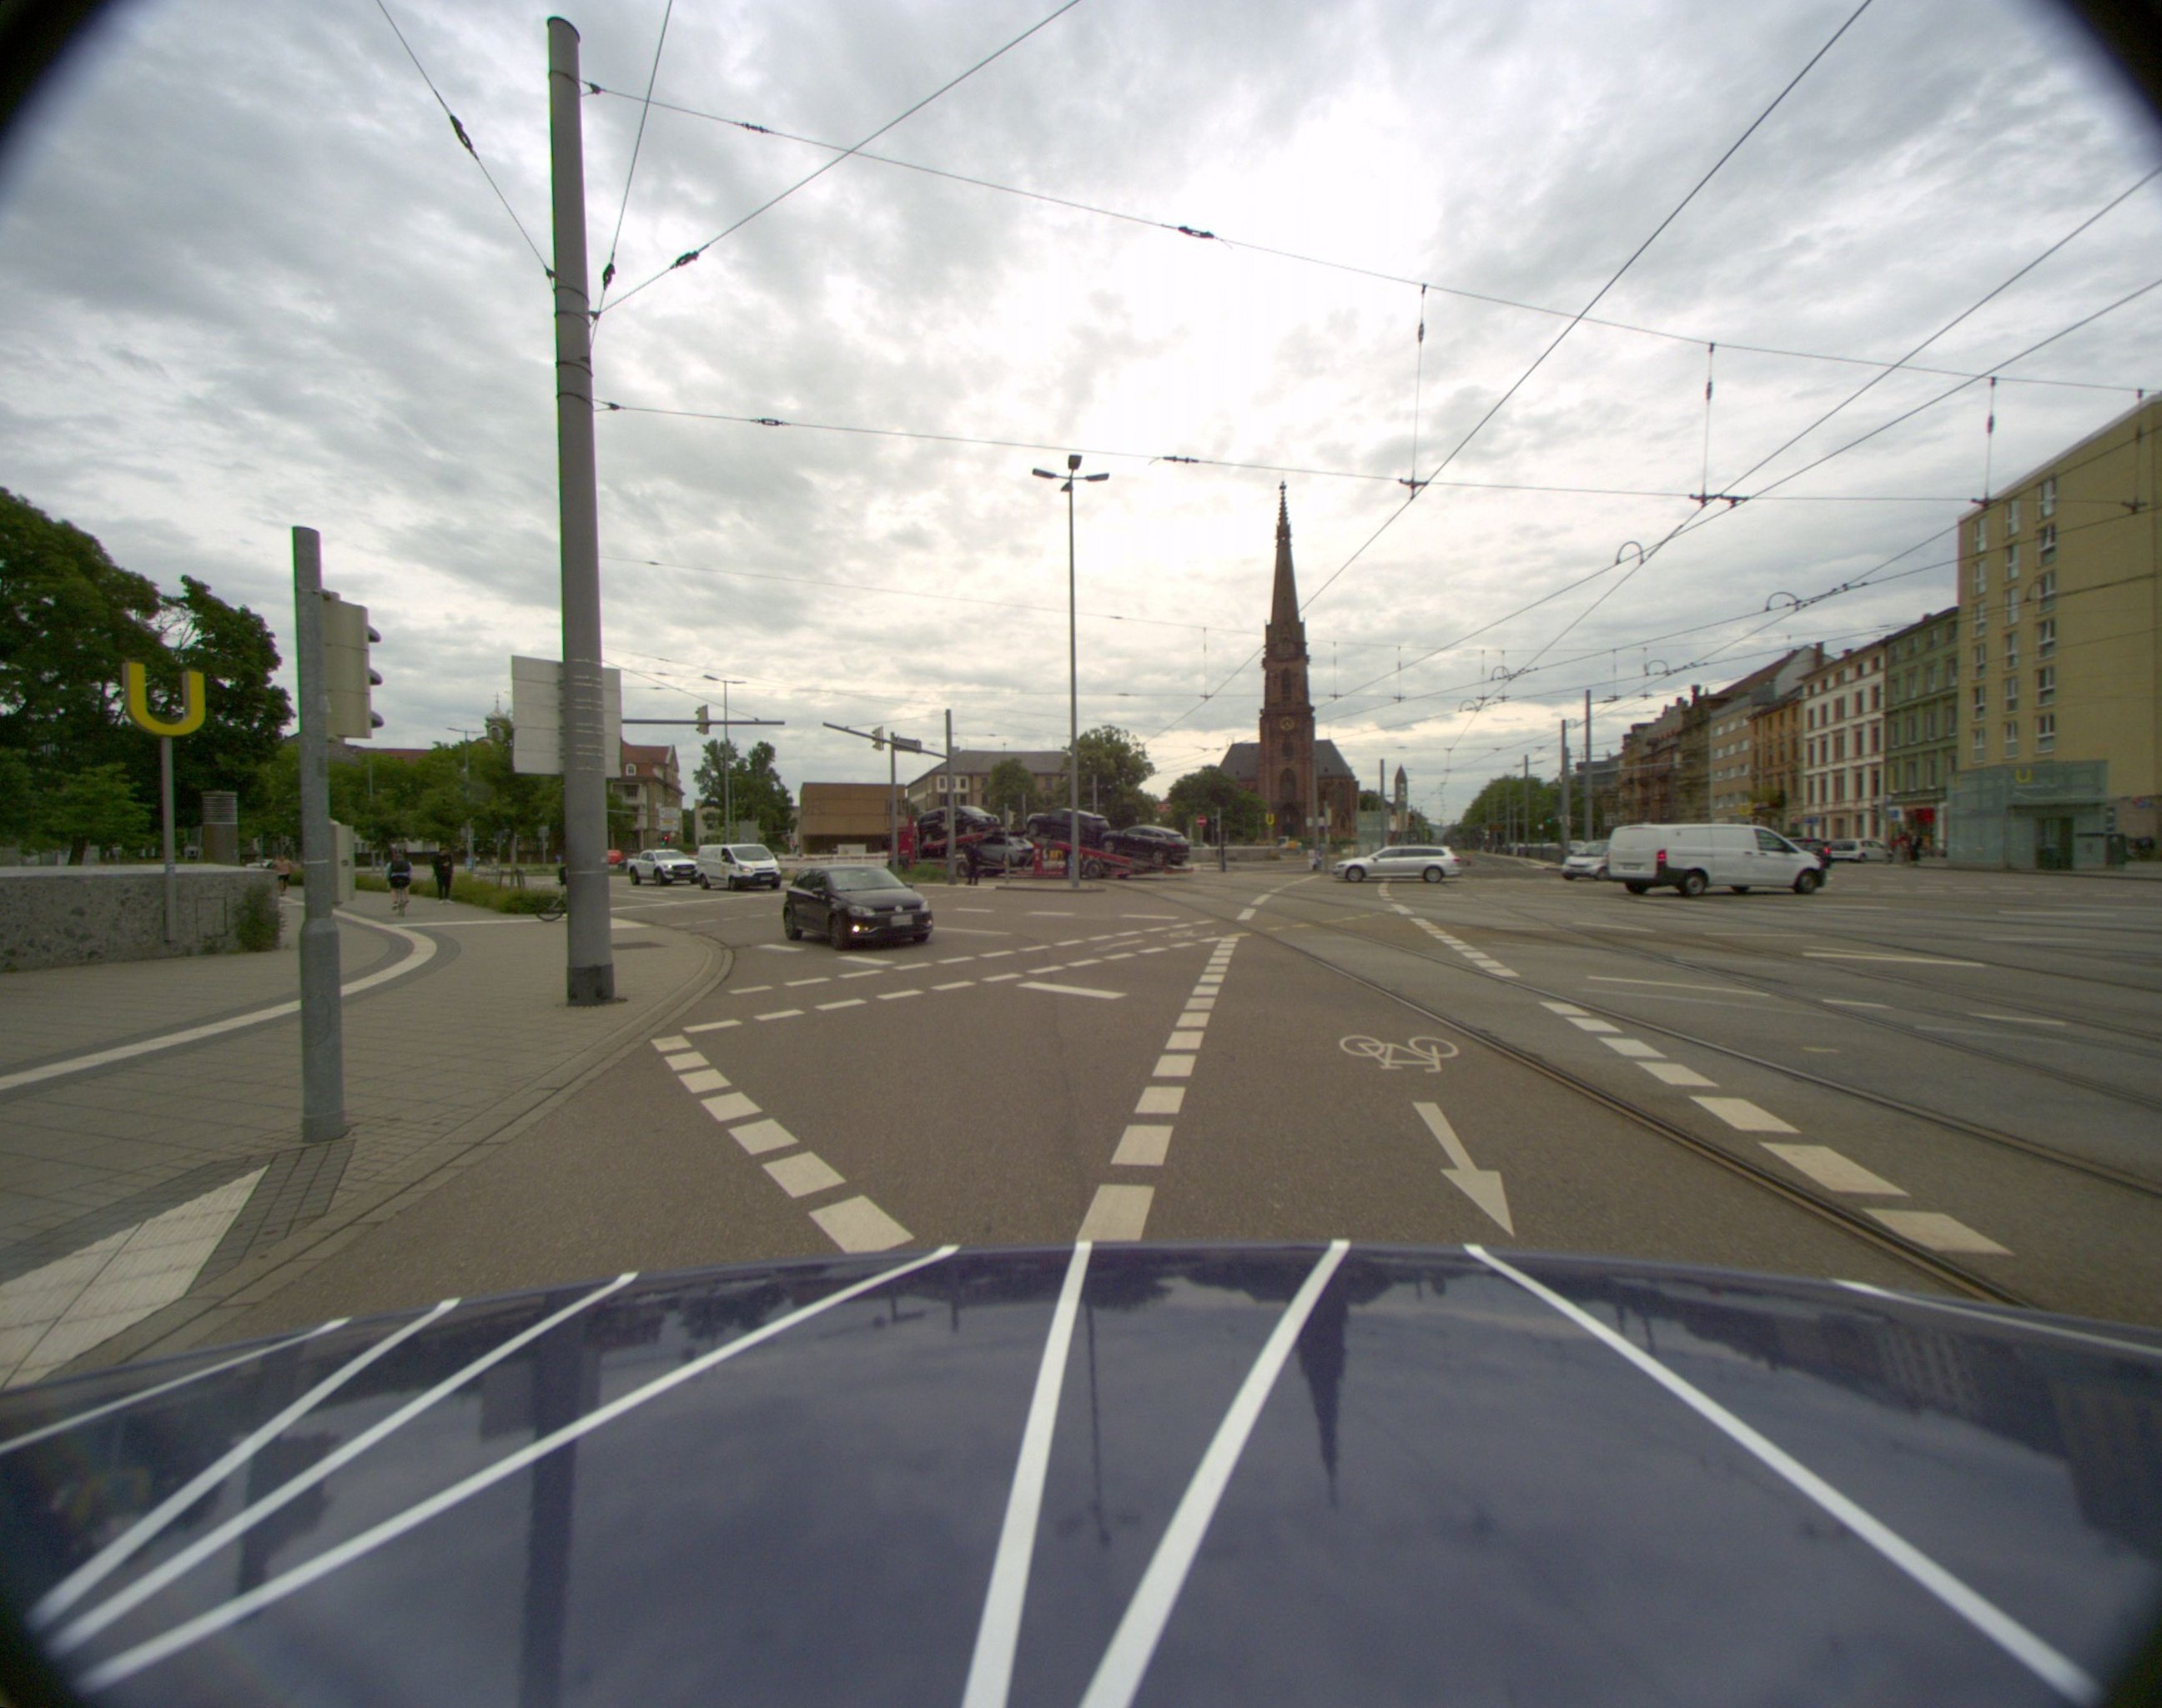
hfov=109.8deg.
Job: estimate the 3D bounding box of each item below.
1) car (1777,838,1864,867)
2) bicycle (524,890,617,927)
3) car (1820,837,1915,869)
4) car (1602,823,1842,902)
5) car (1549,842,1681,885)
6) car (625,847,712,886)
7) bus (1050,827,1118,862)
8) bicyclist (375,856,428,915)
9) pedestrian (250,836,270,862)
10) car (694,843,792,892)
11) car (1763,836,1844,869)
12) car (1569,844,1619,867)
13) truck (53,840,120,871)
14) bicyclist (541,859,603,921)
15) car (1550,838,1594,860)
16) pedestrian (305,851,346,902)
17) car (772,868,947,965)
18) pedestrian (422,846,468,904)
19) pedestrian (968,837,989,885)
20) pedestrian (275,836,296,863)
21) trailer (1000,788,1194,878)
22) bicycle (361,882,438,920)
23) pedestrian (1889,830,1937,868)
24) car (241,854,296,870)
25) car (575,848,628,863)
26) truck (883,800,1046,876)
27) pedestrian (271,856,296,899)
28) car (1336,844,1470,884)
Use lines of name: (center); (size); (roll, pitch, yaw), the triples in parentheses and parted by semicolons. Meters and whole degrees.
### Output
car: (47.692, -0.111, 49.042); (4.000, 1.745, 2.079); (-2, 2, -9)
bicycle: (-13.105, 1.385, 19.530); (0.765, 0.835, 1.830); (0, -1, 38)
car: (47.625, -0.089, 46.055); (4.000, 1.745, 2.079); (-2, 2, -9)
car: (17.004, 0.166, 20.287); (5.088, 1.872, 1.921); (-2, 2, -7)
car: (20.027, 0.341, 28.621); (3.619, 1.485, 1.999); (-1, 1, -3)
car: (-21.054, 0.590, 38.715); (4.738, 1.838, 2.095); (0, 1, 38)
bus: (0.063, -1.013, 73.868); (2.867, 3.060, 11.998); (-2, 2, -19)
bicyclist: (-18.291, 0.833, 20.481); (0.693, 1.551, 0.925); (0, -1, -13)
pedestrian: (-57.782, -0.361, 53.468); (0.597, 1.789, 0.721); (1, -1, -5)
car: (-14.640, 0.540, 32.802); (4.510, 1.931, 2.004); (0, 1, 40)
car: (34.133, -0.092, 35.994); (1.770, 1.460, 4.007); (0, 1, 28)
car: (34.106, 0.086, 50.611); (1.995, 1.434, 4.006); (0, 1, 23)
truck: (-134.326, 0.176, 102.641); (7.147, 4.002, 2.916); (-1, 2, 16)
bicyclist: (-13.052, 0.893, 19.480); (0.758, 1.512, 1.103); (0, 2, 38)
car: (36.700, -0.395, 56.915); (1.995, 1.521, 4.006); (-1, 1, 21)
pedestrian: (-27.524, 0.812, 27.690); (0.840, 1.795, 0.702); (-1, 1, -29)
car: (-4.201, 1.020, 13.989); (1.660, 1.404, 3.989); (-1, 1, -39)
pedestrian: (-21.505, 0.692, 25.698); (0.723, 1.917, 0.874); (-1, 1, 9)
pedestrian: (-4.195, 0.281, 31.099); (0.781, 1.932, 0.980); (-1, 1, -10)
pedestrian: (-54.206, -0.308, 51.759); (0.597, 1.789, 0.721); (1, -1, -5)
trailer: (0.585, -0.944, 37.341); (9.526, 3.951, 3.002); (0, 2, 37)
bicycle: (-18.316, 1.245, 20.475); (0.673, 0.927, 1.857); (2, -1, -12)
pedestrian: (39.404, -0.248, 35.989); (1.178, 1.774, 1.042); (0, 1, 20)
car: (-92.881, 0.893, 86.928); (3.997, 1.718, 1.999); (-1, 2, -1)
car: (-56.982, 0.120, 90.400); (1.909, 1.707, 5.249); (0, 1, 17)
truck: (-6.863, -0.873, 43.321); (10.425, 3.898, 3.021); (0, 3, 41)
pedestrian: (-33.327, 0.976, 31.753); (0.596, 1.789, 0.632); (0, -1, 38)
car: (12.529, 0.391, 29.905); (4.669, 1.484, 2.003); (-1, 0, 18)
